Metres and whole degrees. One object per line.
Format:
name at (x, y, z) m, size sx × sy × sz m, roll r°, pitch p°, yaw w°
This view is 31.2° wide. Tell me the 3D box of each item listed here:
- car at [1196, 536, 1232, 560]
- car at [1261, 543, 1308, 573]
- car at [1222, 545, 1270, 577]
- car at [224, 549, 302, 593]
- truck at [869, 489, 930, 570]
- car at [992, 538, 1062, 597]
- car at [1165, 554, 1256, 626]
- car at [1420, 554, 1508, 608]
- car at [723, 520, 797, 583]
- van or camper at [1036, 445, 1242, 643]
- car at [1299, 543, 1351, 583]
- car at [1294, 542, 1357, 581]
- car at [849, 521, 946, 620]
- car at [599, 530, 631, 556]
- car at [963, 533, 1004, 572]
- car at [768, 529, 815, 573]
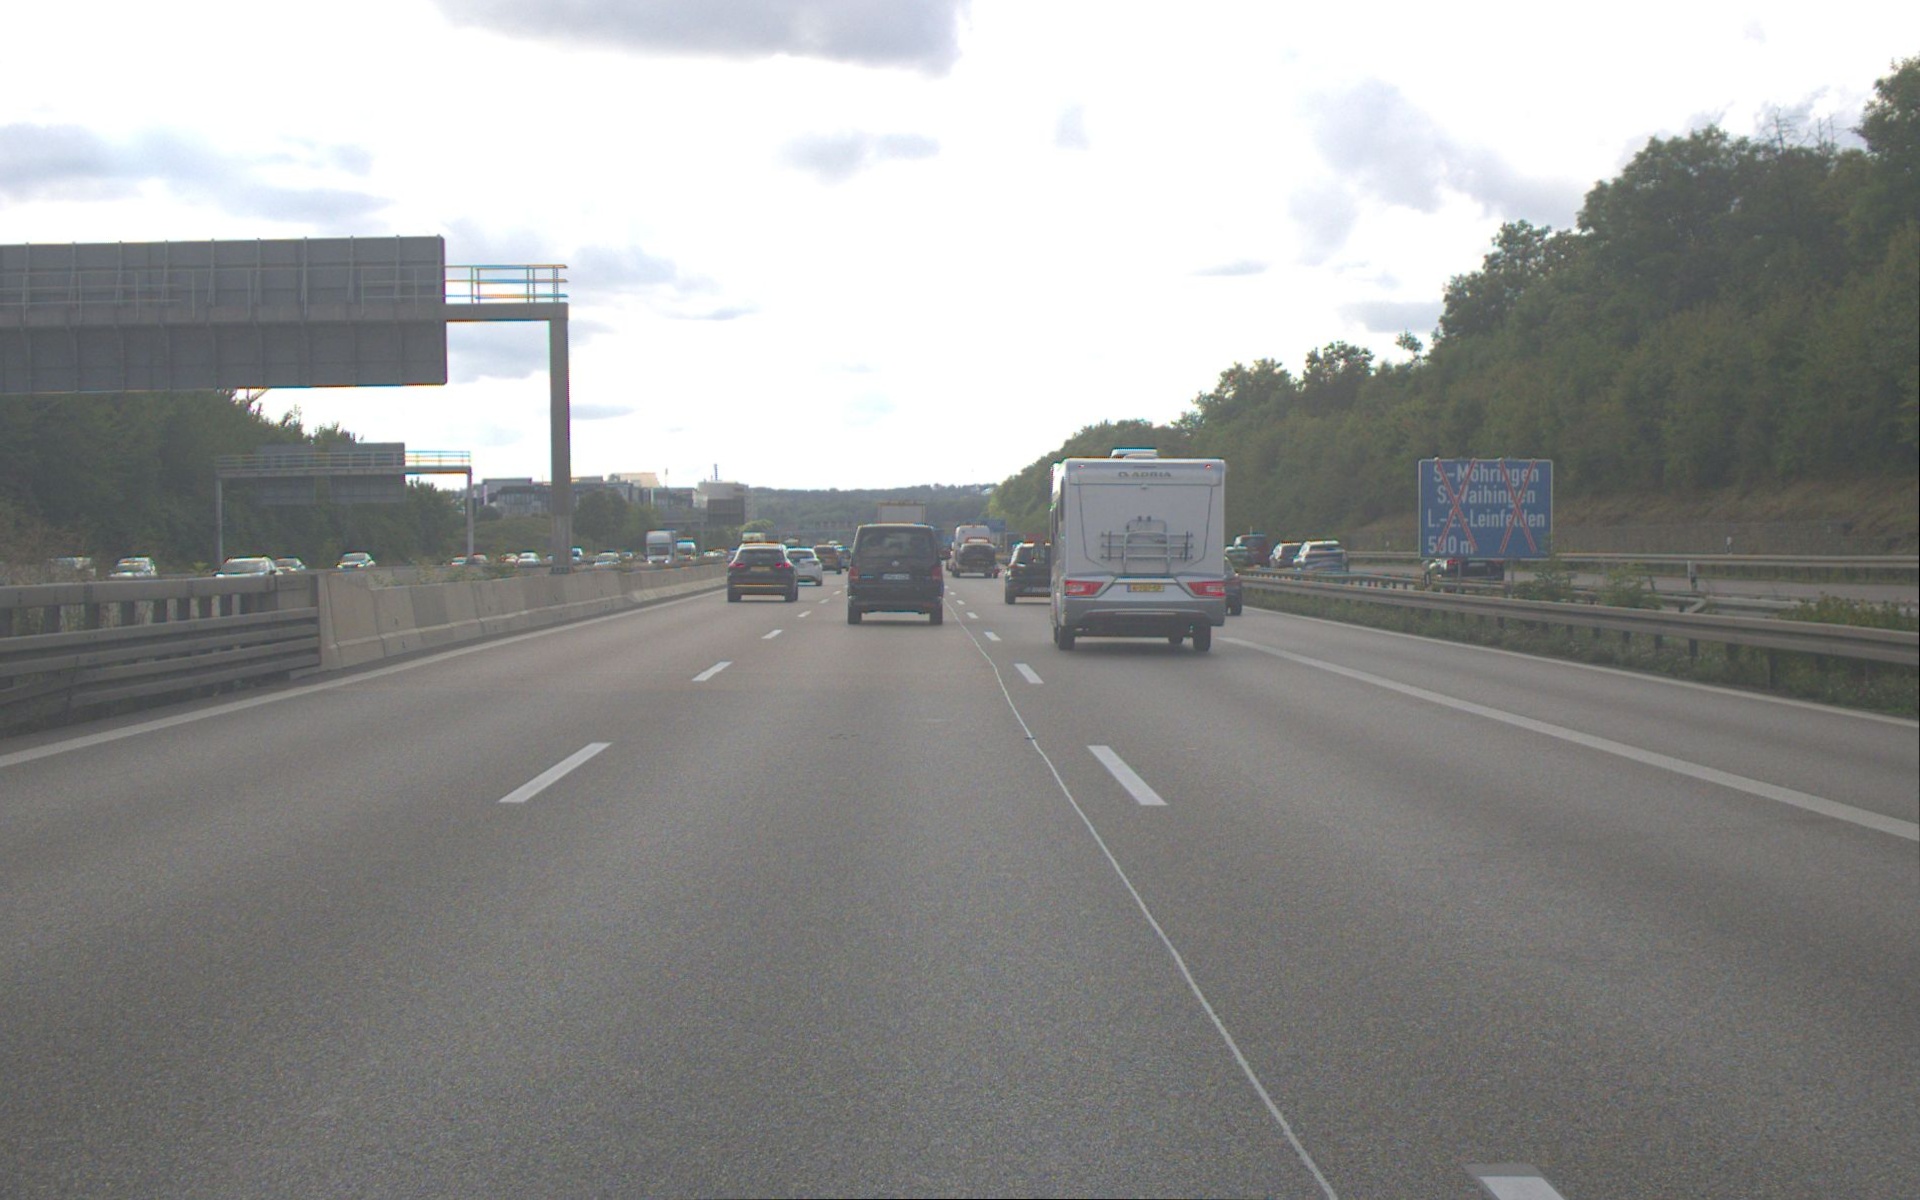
car at (16.882, -3.472, 228.341) m, size 1.843 × 1.479 × 4.526 m, roll -2°, pitch 1°, yaw -2°
car at (17.236, -2.233, 182.676) m, size 1.843 × 1.479 × 4.526 m, roll -2°, pitch 1°, yaw -2°
car at (14.435, -1.992, 173.802) m, size 1.843 × 1.479 × 4.526 m, roll -2°, pitch 1°, yaw -2°
car at (-21.718, -0.918, 107.186) m, size 1.642 × 1.310 × 4.248 m, roll -1°, pitch 1°, yaw -1°
truck at (-3.374, -3.948, 192.193) m, size 3.263 × 4.360 × 11.027 m, roll 1°, pitch 1°, yaw -1°
car at (1.790, -0.888, 92.936) m, size 1.697 × 1.559 × 4.114 m, roll 0°, pitch 1°, yaw -2°
car at (5.785, -0.249, 79.666) m, size 1.697 × 1.605 × 3.896 m, roll 0°, pitch 1°, yaw -2°
car at (15.091, -0.599, 103.190) m, size 1.843 × 1.479 × 4.526 m, roll -2°, pitch 1°, yaw -1°
car at (-5.479, -1.342, 94.599) m, size 1.873 × 1.692 × 4.072 m, roll 0°, pitch 1°, yaw -1°
van or camper at (2.561, -0.849, 51.361) m, size 2.468 × 2.712 × 7.662 m, roll 1°, pitch 1°, yaw -1°
car at (14.674, -1.507, 138.467) m, size 1.540 × 1.479 × 3.942 m, roll -2°, pitch 1°, yaw -1°
car at (14.762, -1.576, 138.884) m, size 1.843 × 1.479 × 4.526 m, roll -2°, pitch 1°, yaw -2°
car at (-1.246, -0.610, 68.126) m, size 1.855 × 1.904 × 4.260 m, roll 0°, pitch 1°, yaw -1°
car at (-24.267, -4.047, 241.727) m, size 1.834 × 1.780 × 5.504 m, roll -1°, pitch 1°, yaw -2°
car at (1.178, -2.385, 172.276) m, size 1.913 × 1.912 × 4.031 m, roll 0°, pitch 1°, yaw -1°
car at (-6.294, -1.835, 128.925) m, size 1.697 × 1.605 × 4.114 m, roll 0°, pitch 1°, yaw -2°
